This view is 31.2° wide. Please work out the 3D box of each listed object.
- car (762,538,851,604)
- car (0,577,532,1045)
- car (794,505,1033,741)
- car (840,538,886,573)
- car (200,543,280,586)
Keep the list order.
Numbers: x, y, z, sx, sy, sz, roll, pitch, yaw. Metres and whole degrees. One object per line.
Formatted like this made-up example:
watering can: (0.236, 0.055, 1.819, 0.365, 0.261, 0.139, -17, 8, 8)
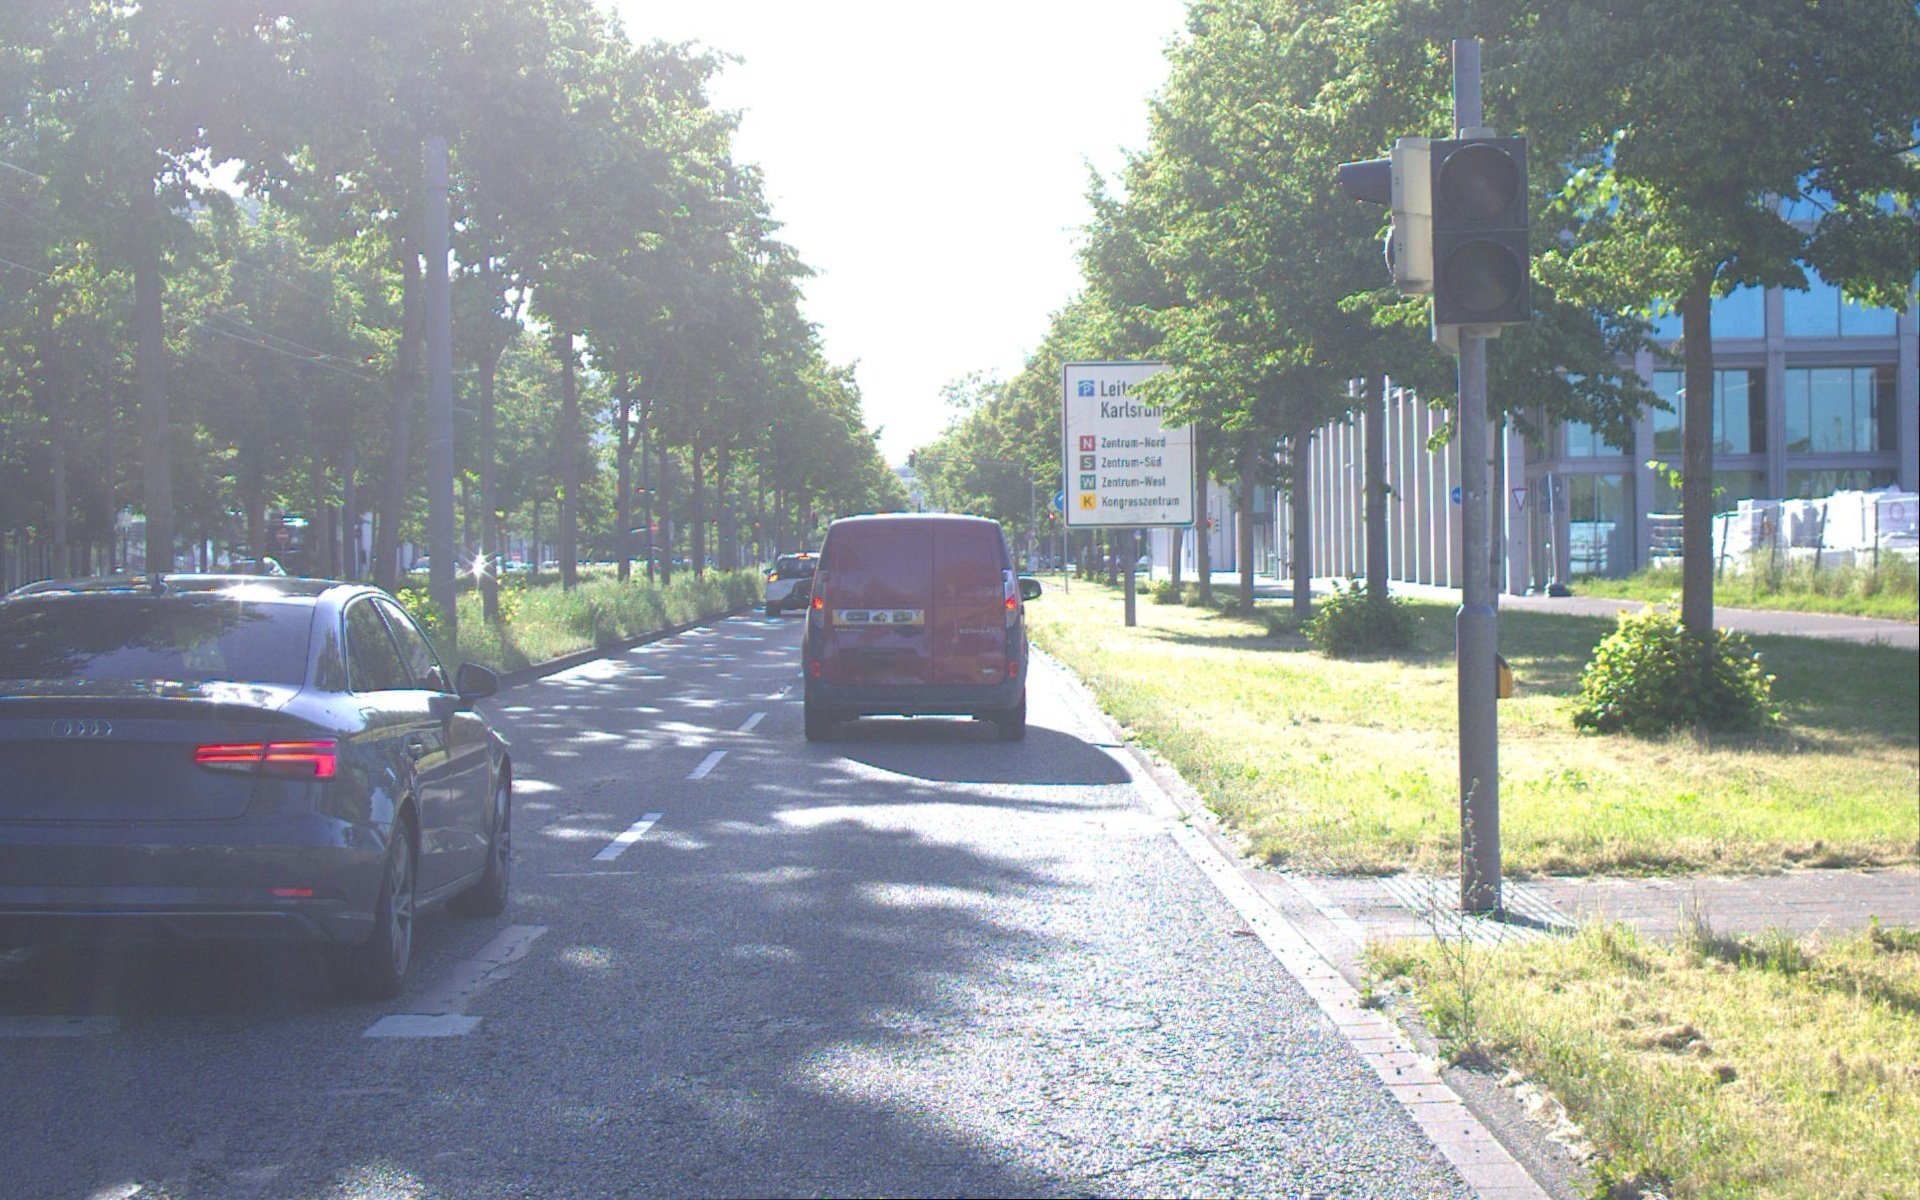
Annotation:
car: (-3.493, -0.675, 78.510, 1.942, 1.436, 4.001, -1, 1, -2)
car: (-2.664, 0.621, 12.422, 1.721, 1.361, 4.146, 0, 1, 0)
car: (-0.412, 0.128, 28.331, 1.797, 1.771, 4.001, 1, 1, -2)
car: (-4.306, -1.990, 153.295, 1.843, 1.529, 3.940, -1, 1, 1)
car: (-24.043, -1.203, 114.964, 1.797, 1.287, 4.311, -2, 2, -1)
